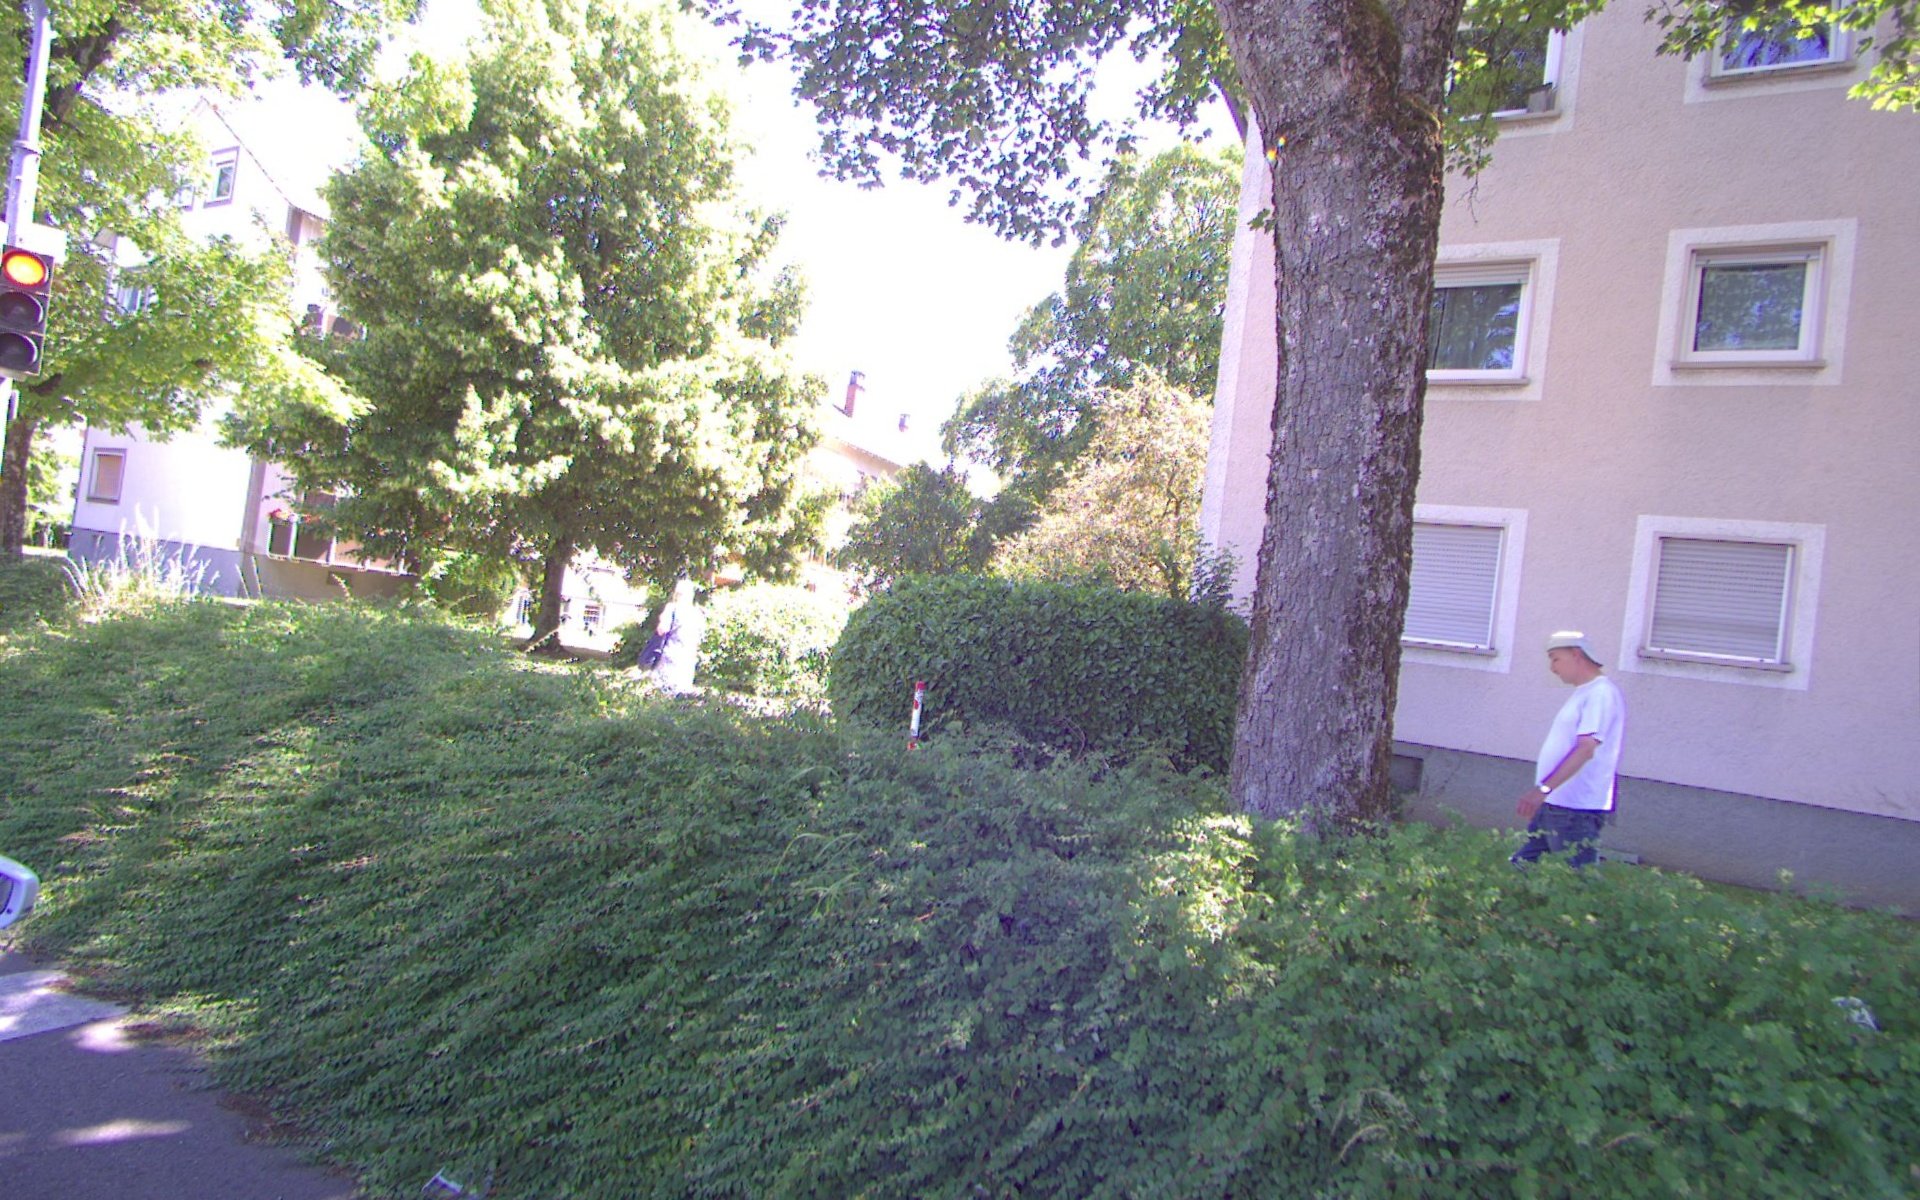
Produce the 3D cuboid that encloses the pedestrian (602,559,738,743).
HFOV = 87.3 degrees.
[{"bbox_3d":[-2.828,0.493,9.856,0.836,1.653,0.720,7,0,23],"label":"pedestrian"}]

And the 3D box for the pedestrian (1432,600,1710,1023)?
[{"bbox_3d":[3.092,1.024,5.174,0.886,1.893,0.675,7,-3,11],"label":"pedestrian"}]
